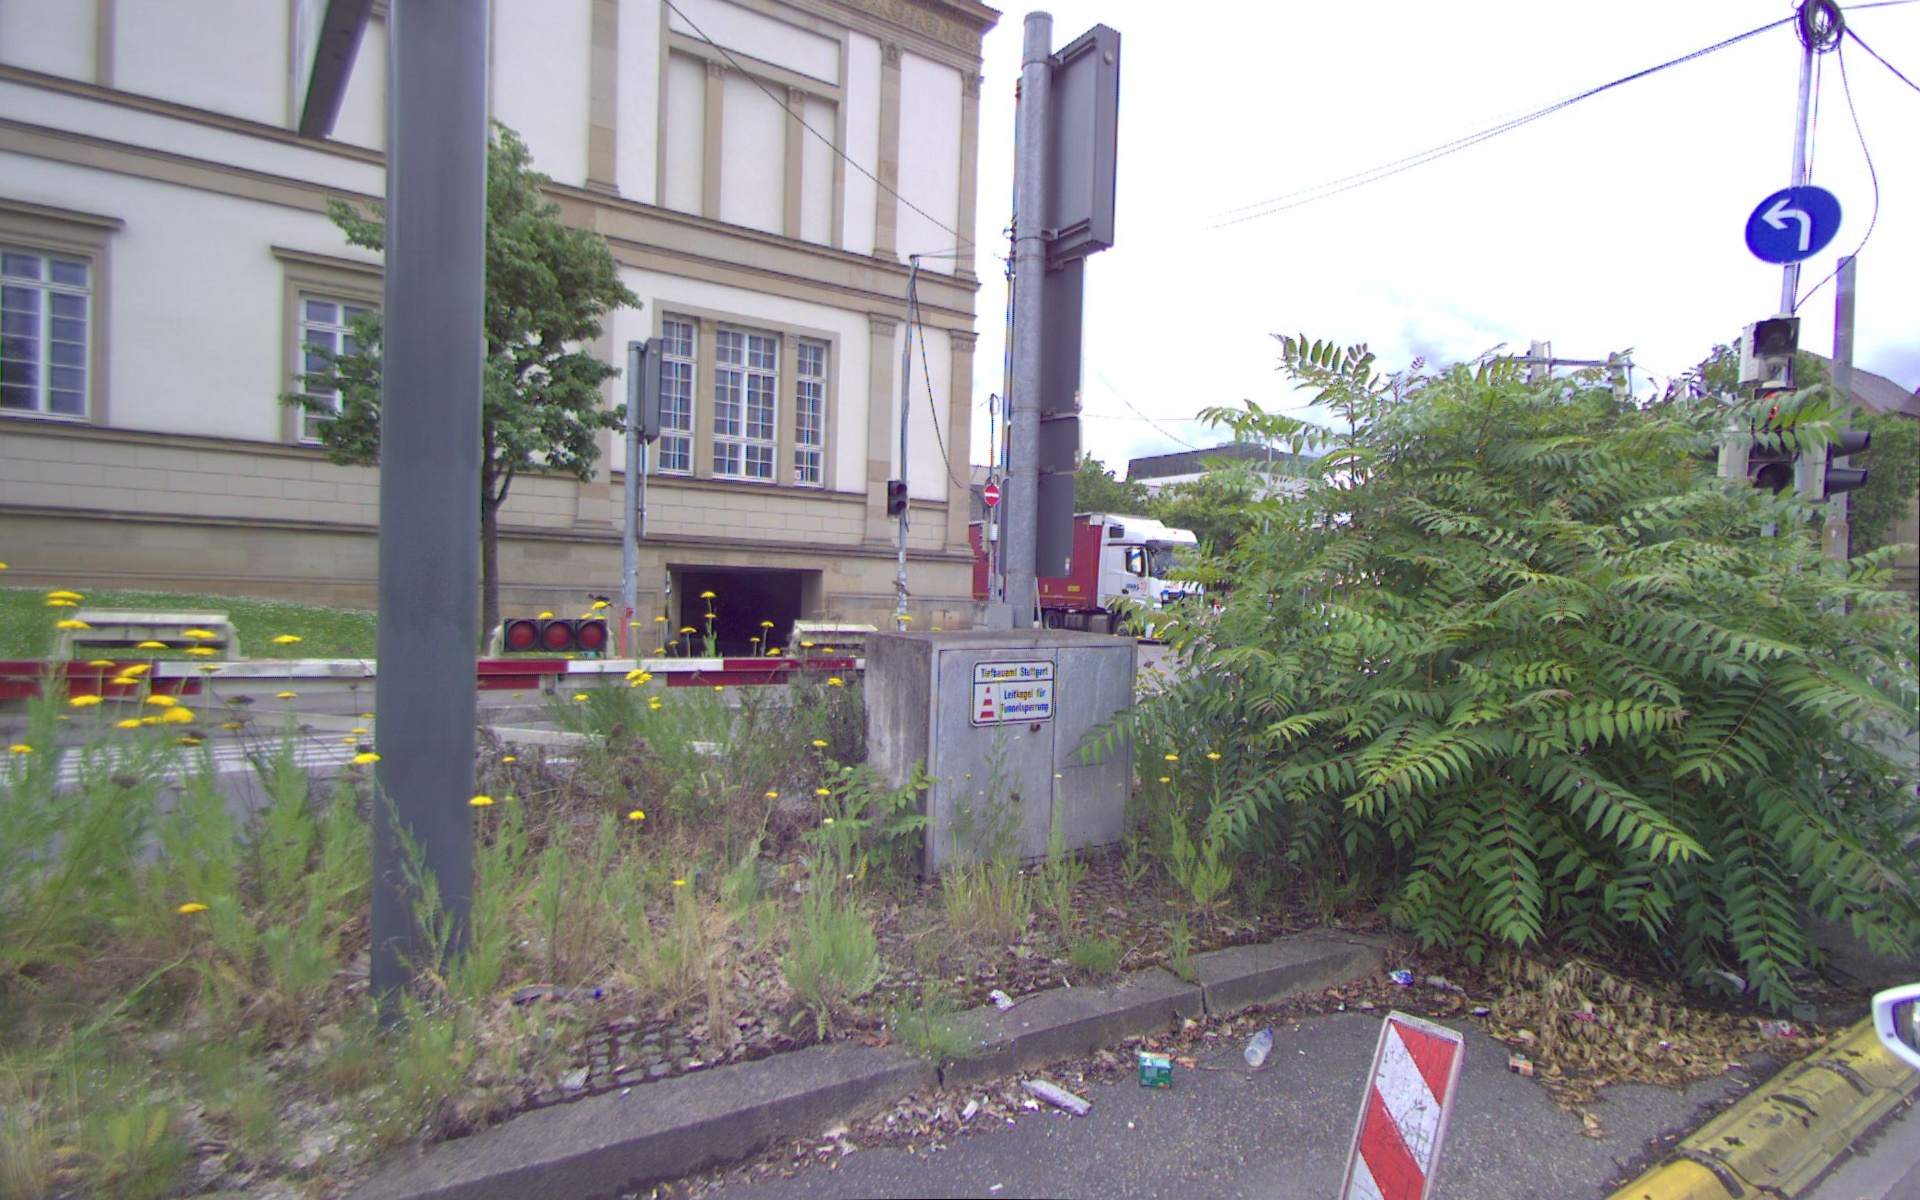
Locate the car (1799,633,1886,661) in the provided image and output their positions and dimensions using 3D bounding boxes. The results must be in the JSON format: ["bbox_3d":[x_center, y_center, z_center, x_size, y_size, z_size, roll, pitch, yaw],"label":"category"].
[{"bbox_3d":[51.113,2.701,58.180,3.612,1.417,1.681,2,0,-3],"label":"car"}]

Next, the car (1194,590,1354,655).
[{"bbox_3d":[8.589,0.590,27.805,1.810,1.646,4.032,2,0,-31],"label":"car"}]

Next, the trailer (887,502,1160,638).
[{"bbox_3d":[1.778,-1.009,38.722,2.916,4.338,13.662,2,0,-33],"label":"trailer"}]

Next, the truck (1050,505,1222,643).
[{"bbox_3d":[5.627,-0.767,32.751,2.915,4.118,4.846,2,0,-34],"label":"truck"}]
